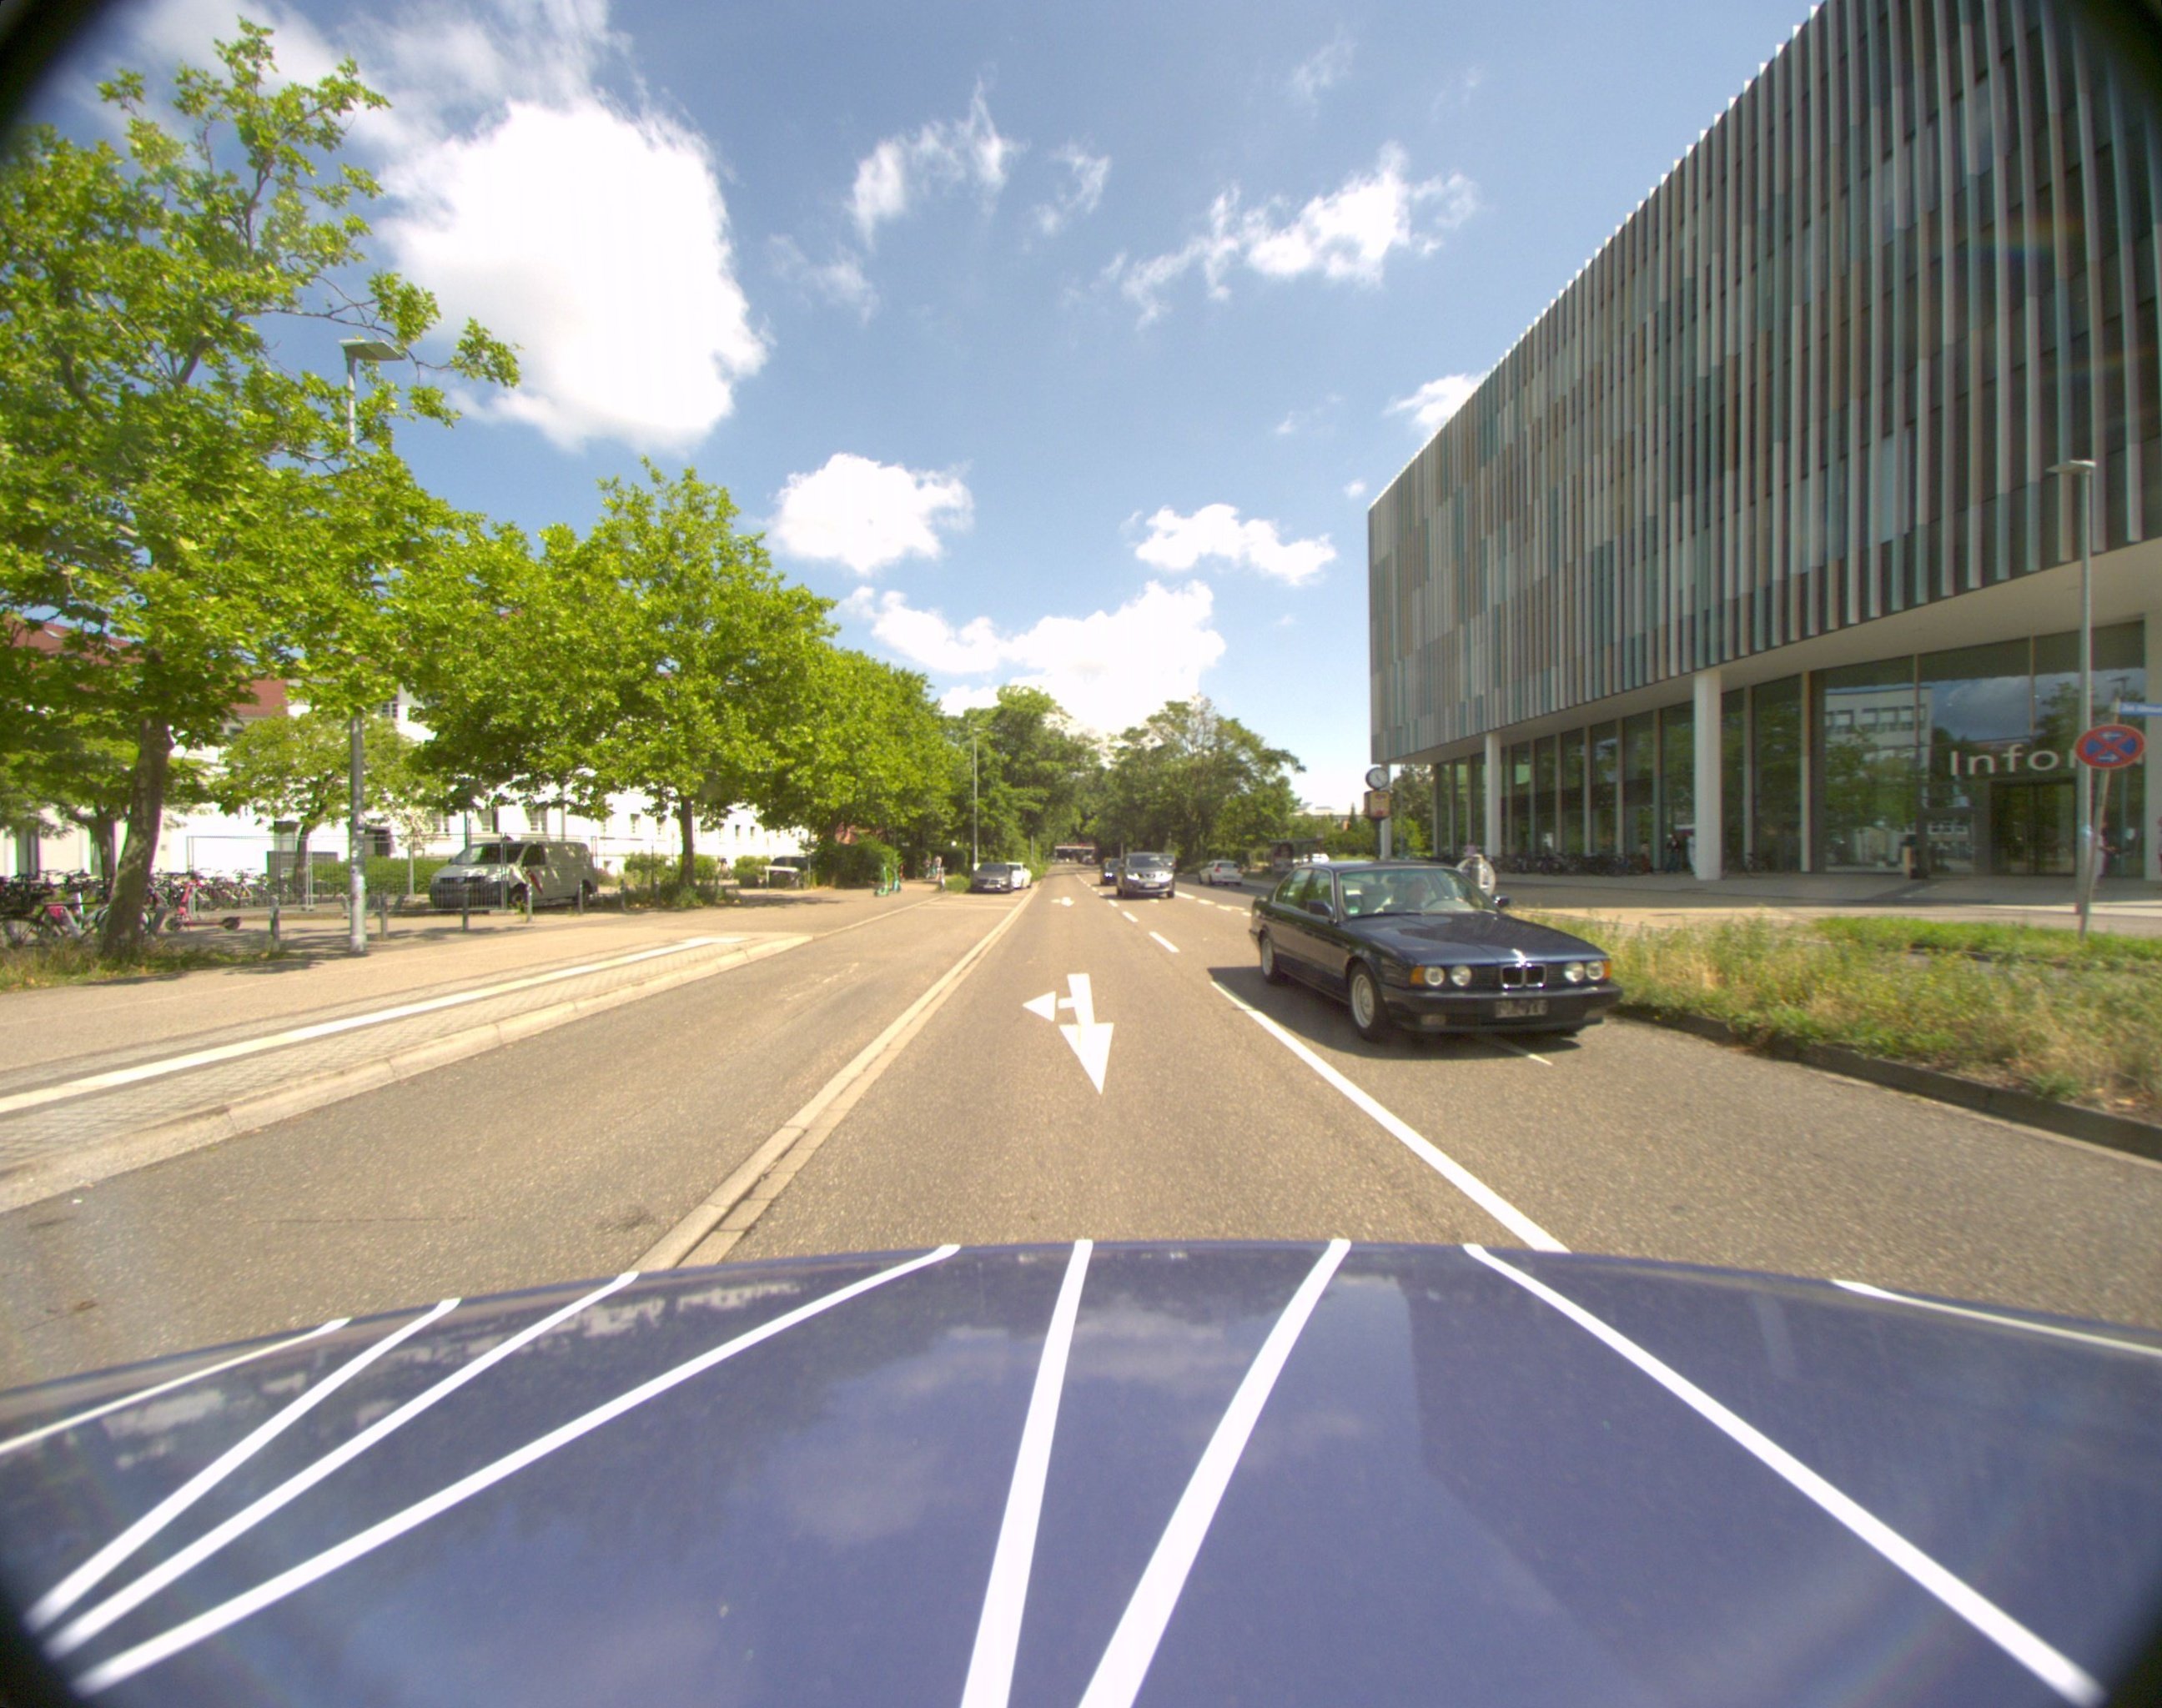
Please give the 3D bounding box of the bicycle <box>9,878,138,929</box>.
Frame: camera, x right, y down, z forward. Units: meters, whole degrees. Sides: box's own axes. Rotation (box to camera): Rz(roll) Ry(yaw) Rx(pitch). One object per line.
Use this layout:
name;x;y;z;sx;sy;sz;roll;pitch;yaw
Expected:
bicycle;-24.965;1.210;18.873;1.770;1.092;0.602;-3;1;-32

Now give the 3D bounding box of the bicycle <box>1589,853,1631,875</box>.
bicycle;24.350;0.452;34.981;1.544;0.950;0.374;-2;1;13

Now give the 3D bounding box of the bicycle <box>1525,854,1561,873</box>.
bicycle;23.914;0.484;39.363;1.544;0.950;0.374;-2;1;13

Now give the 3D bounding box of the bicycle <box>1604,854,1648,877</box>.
bicycle;24.181;0.505;33.713;1.544;0.950;0.374;-2;1;13

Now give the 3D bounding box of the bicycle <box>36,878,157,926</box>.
bicycle;-25.370;1.220;19.626;1.770;1.092;0.602;-3;1;-32

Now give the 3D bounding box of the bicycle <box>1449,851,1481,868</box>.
bicycle;24.271;0.354;48.014;1.784;0.950;0.433;-3;1;-2

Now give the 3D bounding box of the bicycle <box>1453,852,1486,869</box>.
bicycle;23.960;0.413;46.871;1.784;0.950;0.433;-3;1;-2

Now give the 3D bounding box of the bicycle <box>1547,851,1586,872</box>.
bicycle;23.874;0.376;37.373;1.544;0.950;0.374;-2;1;13

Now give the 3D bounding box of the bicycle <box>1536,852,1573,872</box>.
bicycle;24.072;0.418;38.614;1.544;0.950;0.374;-2;1;13

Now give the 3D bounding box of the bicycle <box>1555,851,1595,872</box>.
bicycle;23.874;0.359;36.719;1.544;0.950;0.374;-2;1;13

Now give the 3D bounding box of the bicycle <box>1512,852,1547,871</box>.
bicycle;24.144;0.425;40.940;1.544;0.950;0.374;-2;1;13

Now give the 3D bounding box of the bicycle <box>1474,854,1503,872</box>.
bicycle;23.024;0.498;42.971;1.547;0.950;0.373;-3;1;-13

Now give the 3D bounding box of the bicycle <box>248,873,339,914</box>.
bicycle;-23.718;1.176;22.937;1.770;1.092;0.602;-3;1;-33

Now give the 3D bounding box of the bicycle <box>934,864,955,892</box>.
bicycle;-6.109;1.052;34.056;0.639;1.183;2.118;1;0;-2

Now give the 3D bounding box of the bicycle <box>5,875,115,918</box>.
bicycle;-29.606;1.216;22.072;1.770;1.092;0.602;-3;1;-33

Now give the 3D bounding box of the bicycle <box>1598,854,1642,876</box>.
bicycle;24.321;0.497;34.292;1.544;0.950;0.374;-2;1;13

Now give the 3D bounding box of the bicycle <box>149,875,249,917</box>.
bicycle;-25.472;1.199;21.992;1.770;1.092;0.515;-3;1;-33

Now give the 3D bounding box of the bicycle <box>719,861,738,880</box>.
bicycle;-22.090;1.046;47.636;0.608;1.131;1.587;0;1;-5

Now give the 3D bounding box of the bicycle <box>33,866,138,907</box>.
bicycle;-29.778;0.963;22.769;1.770;1.092;0.602;-3;1;-33

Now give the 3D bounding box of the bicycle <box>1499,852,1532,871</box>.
bicycle;24.080;0.421;42.109;1.544;0.950;0.374;-2;1;13

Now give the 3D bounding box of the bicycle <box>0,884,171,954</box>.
bicycle;-18.147;1.157;13.898;1.770;1.092;0.602;-3;1;-32

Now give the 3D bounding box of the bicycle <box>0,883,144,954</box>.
bicycle;-17.862;1.119;13.255;1.770;1.092;0.602;-3;1;-32

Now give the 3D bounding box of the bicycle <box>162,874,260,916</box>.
bicycle;-25.765;1.207;22.537;1.770;1.092;0.591;-3;1;-33

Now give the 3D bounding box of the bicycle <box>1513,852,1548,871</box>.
bicycle;23.976;0.420;40.547;1.544;0.950;0.374;-2;1;13

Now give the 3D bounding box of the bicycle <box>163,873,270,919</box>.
bicycle;-23.384;1.118;20.607;1.770;1.092;0.602;-3;1;-32

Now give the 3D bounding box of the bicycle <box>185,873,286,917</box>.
bicycle;-23.903;1.132;21.517;1.770;1.092;0.602;-3;1;-32

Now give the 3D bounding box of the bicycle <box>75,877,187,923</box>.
bicycle;-26.059;1.239;20.877;1.770;1.092;0.602;-3;1;-32

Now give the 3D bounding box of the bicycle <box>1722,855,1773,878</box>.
bicycle;24.965;0.460;28.476;1.545;0.771;0.373;-3;1;2

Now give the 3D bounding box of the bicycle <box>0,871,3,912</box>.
bicycle;-29.524;1.036;19.643;1.770;1.092;0.602;-3;1;-33

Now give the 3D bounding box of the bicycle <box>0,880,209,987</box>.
bicycle;-13.117;0.991;9.977;0.799;1.176;2.032;-2;1;9

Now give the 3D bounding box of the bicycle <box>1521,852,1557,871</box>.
bicycle;24.056;0.402;39.898;1.544;0.950;0.374;-2;1;13

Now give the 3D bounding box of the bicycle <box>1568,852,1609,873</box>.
bicycle;24.140;0.413;36.164;1.544;0.950;0.374;-2;1;13

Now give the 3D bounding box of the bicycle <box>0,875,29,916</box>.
bicycle;-29.982;1.164;20.478;1.770;1.092;0.602;-3;1;-33

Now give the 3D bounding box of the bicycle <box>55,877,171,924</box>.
bicycle;-25.735;1.217;20.247;1.770;1.092;0.602;-3;1;-32

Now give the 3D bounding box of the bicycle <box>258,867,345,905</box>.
bicycle;-24.526;0.993;23.960;1.770;1.092;0.602;-3;1;-33
